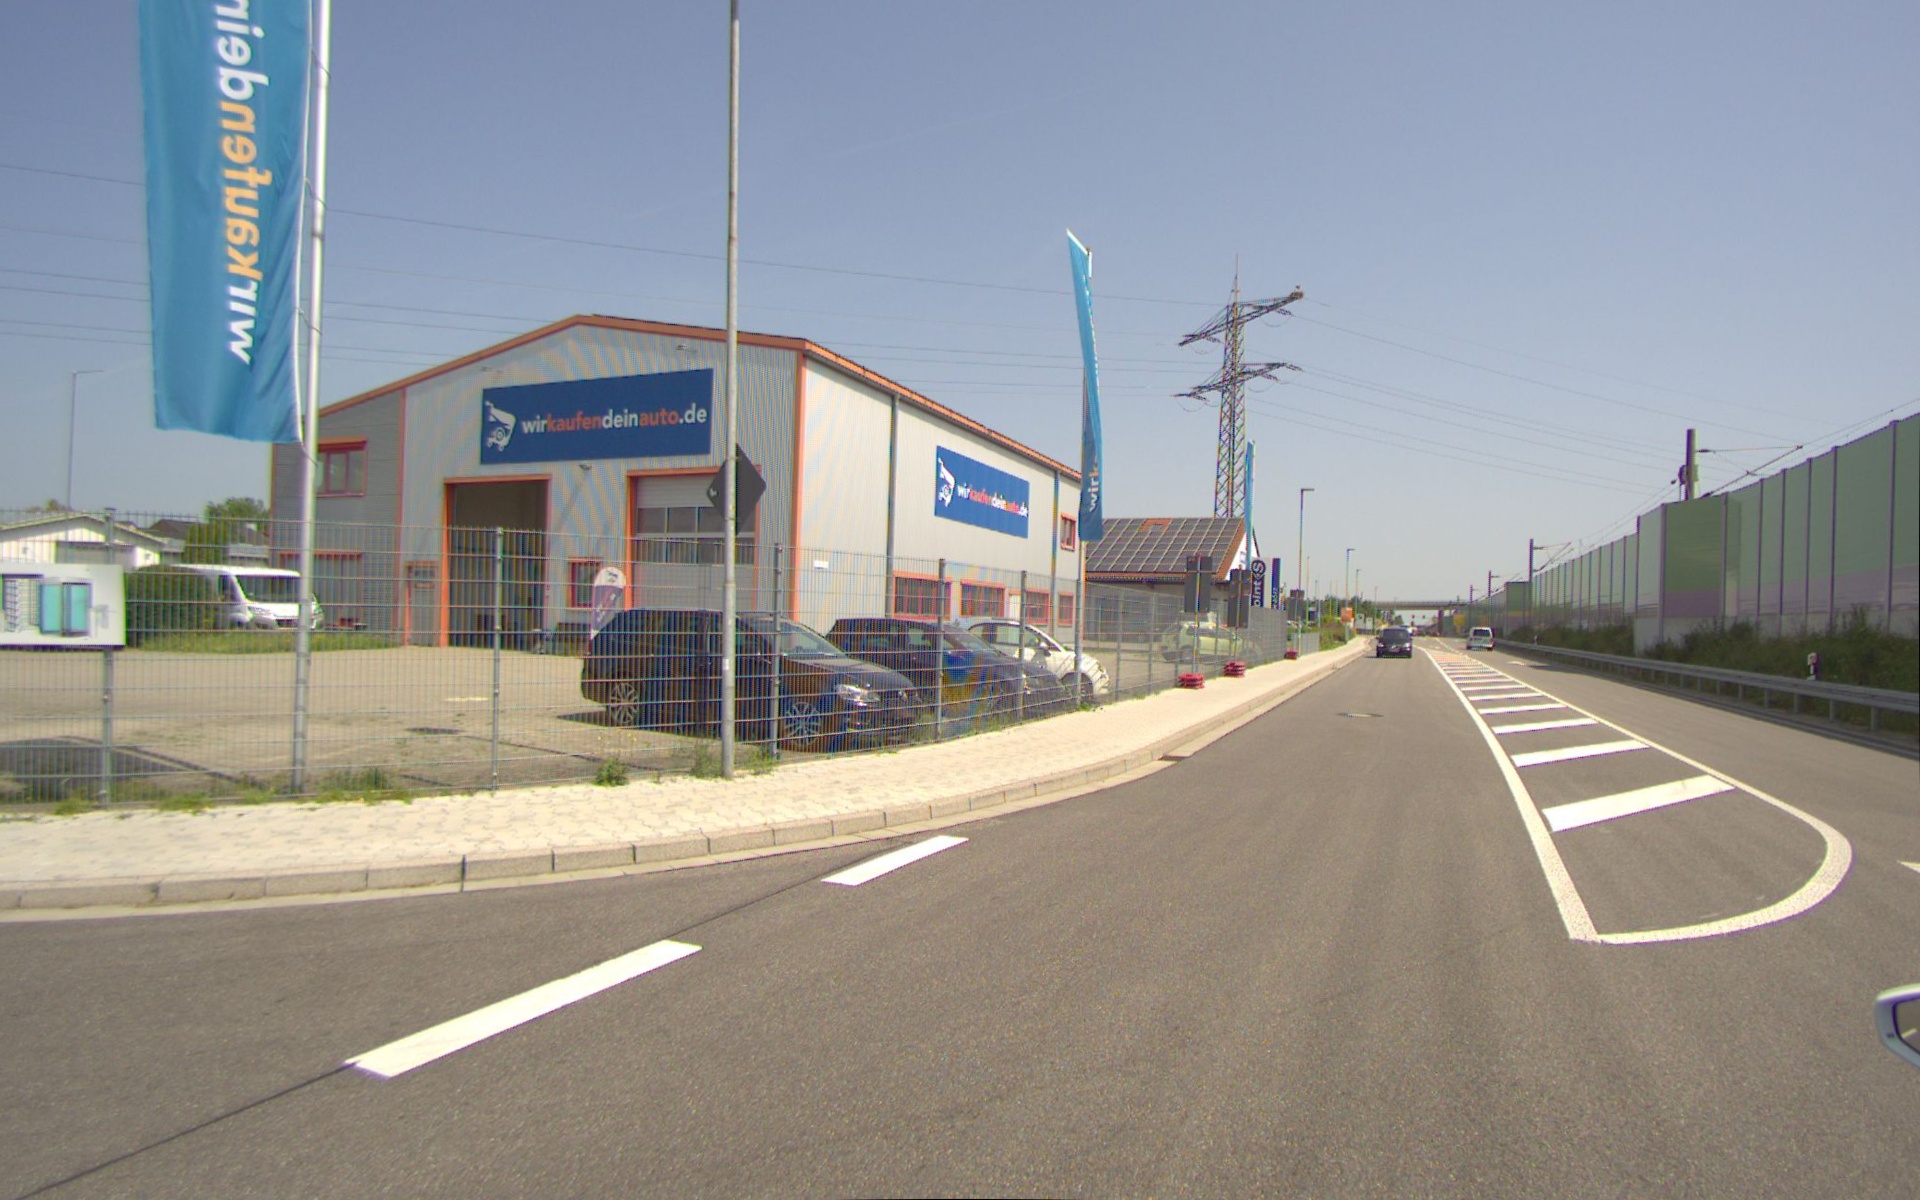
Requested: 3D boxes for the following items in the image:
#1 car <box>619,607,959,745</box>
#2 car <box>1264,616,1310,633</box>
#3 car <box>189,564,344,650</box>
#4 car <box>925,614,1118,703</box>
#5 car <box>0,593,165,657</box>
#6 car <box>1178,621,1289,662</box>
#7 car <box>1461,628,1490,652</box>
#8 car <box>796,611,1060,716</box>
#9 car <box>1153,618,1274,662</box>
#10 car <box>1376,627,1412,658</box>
[{"bbox_3d":[-2.160,0.877,12.819,3.922,1.522,1.775,0,-1,21],"label":"car"},{"bbox_3d":[33.048,2.477,101.461,4.156,1.475,1.763,4,0,23],"label":"car"},{"bbox_3d":[-19.324,0.201,27.948,4.247,2.225,1.996,0,-1,32],"label":"car"},{"bbox_3d":[1.091,1.059,18.681,3.418,1.484,1.590,1,-1,-1],"label":"car"},{"bbox_3d":[-21.663,0.587,24.459,3.997,1.439,1.873,0,-1,22],"label":"car"},{"bbox_3d":[10.917,1.660,40.191,3.926,1.513,1.741,2,-1,-8],"label":"car"},{"bbox_3d":[41.253,3.197,80.424,1.963,1.780,3.996,1,-1,26],"label":"car"},{"bbox_3d":[-0.484,0.967,16.309,3.920,1.522,1.776,0,-1,18],"label":"car"},{"bbox_3d":[9.484,1.505,37.642,4.021,1.513,1.740,2,-1,-11],"label":"car"},{"bbox_3d":[23.713,2.323,54.816,1.714,1.615,3.794,-1,-2,24],"label":"car"}]
